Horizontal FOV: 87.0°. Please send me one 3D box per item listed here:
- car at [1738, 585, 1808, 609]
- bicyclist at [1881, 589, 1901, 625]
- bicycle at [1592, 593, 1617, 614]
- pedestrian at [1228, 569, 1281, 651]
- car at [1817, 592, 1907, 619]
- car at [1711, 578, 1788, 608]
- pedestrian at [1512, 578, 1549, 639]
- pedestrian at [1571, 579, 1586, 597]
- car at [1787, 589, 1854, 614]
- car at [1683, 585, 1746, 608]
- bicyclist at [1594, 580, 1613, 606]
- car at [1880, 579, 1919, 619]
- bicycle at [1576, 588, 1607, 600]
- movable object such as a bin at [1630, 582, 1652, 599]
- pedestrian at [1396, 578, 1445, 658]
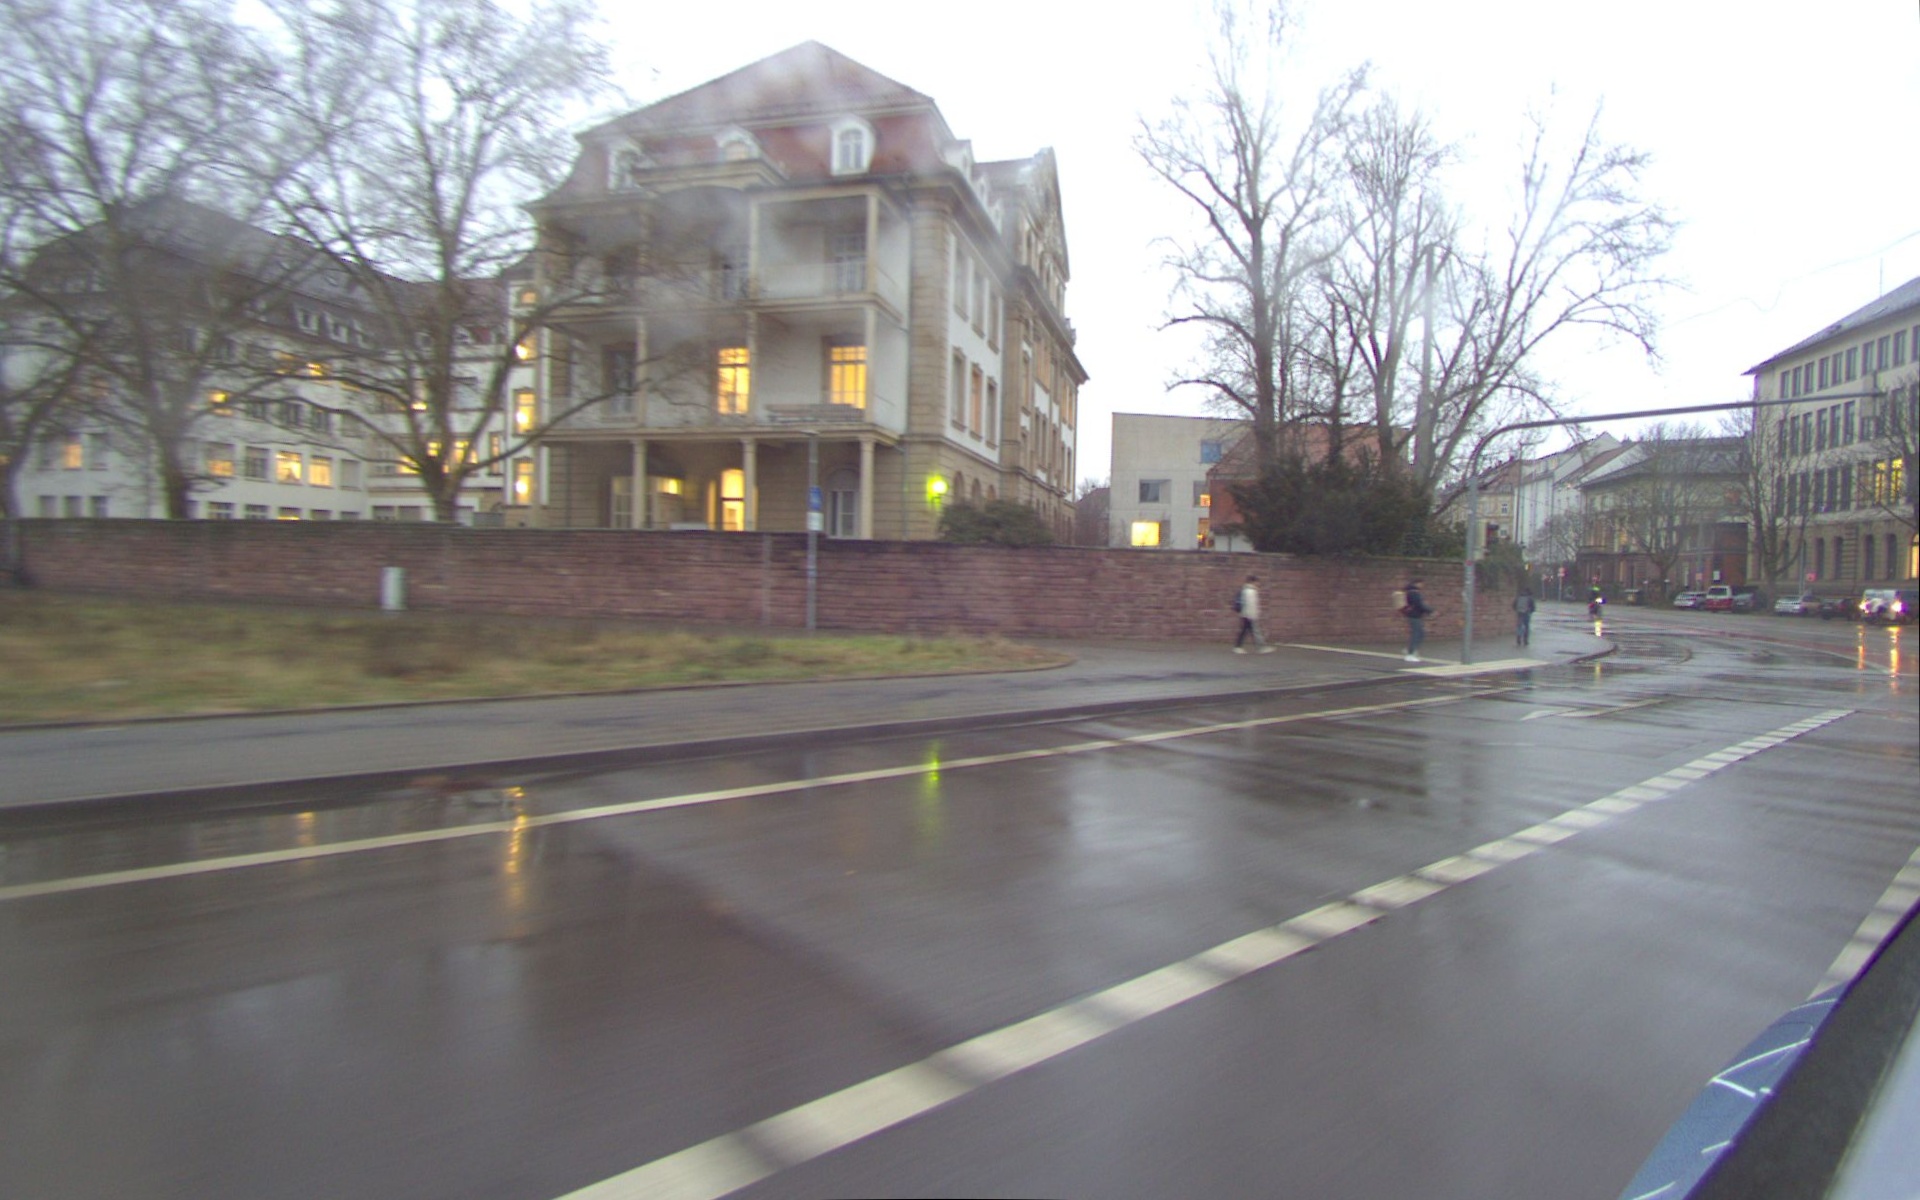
[{"bbox_3d":[57.085,-0.201,71.092,3.894,1.558,1.828,-1,1,-13],"label":"car"},{"bbox_3d":[46.967,0.348,51.071,0.578,1.789,0.612,-2,1,-32],"label":"bicyclist"},{"bbox_3d":[35.254,0.195,55.406,0.715,1.104,2.269,0,0,21],"label":"bicycle"},{"bbox_3d":[6.354,0.206,21.891,0.947,1.696,0.777,2,2,11],"label":"pedestrian"},{"bbox_3d":[54.589,0.309,61.270,4.384,1.475,1.804,-1,1,-12],"label":"car"},{"bbox_3d":[57.827,-0.550,74.150,4.526,2.079,1.970,-1,1,-12],"label":"car"},{"bbox_3d":[16.623,0.242,29.504,0.802,1.705,1.143,4,2,32],"label":"pedestrian"},{"bbox_3d":[62.548,-1.213,102.302,0.905,1.724,0.949,-1,1,-8],"label":"pedestrian"},{"bbox_3d":[56.103,0.078,65.980,3.747,1.475,1.641,-2,2,-19],"label":"car"},{"bbox_3d":[59.415,-0.283,79.706,4.097,1.610,1.779,-1,1,-14],"label":"car"},{"bbox_3d":[35.165,-0.389,55.315,0.709,1.359,0.714,-1,1,22],"label":"bicyclist"},{"bbox_3d":[52.995,-0.076,55.515,4.704,2.059,1.916,-2,2,-23],"label":"car"},{"bbox_3d":[55.594,-0.515,89.132,2.095,0.956,0.939,0,1,19],"label":"bicycle"},{"bbox_3d":[61.376,-0.901,91.269,0.966,1.482,1.347,-2,1,-23],"label":"movable object such as a bin"},{"bbox_3d":[10.226,0.385,22.487,0.788,1.696,0.720,4,2,36],"label":"pedestrian"}]
